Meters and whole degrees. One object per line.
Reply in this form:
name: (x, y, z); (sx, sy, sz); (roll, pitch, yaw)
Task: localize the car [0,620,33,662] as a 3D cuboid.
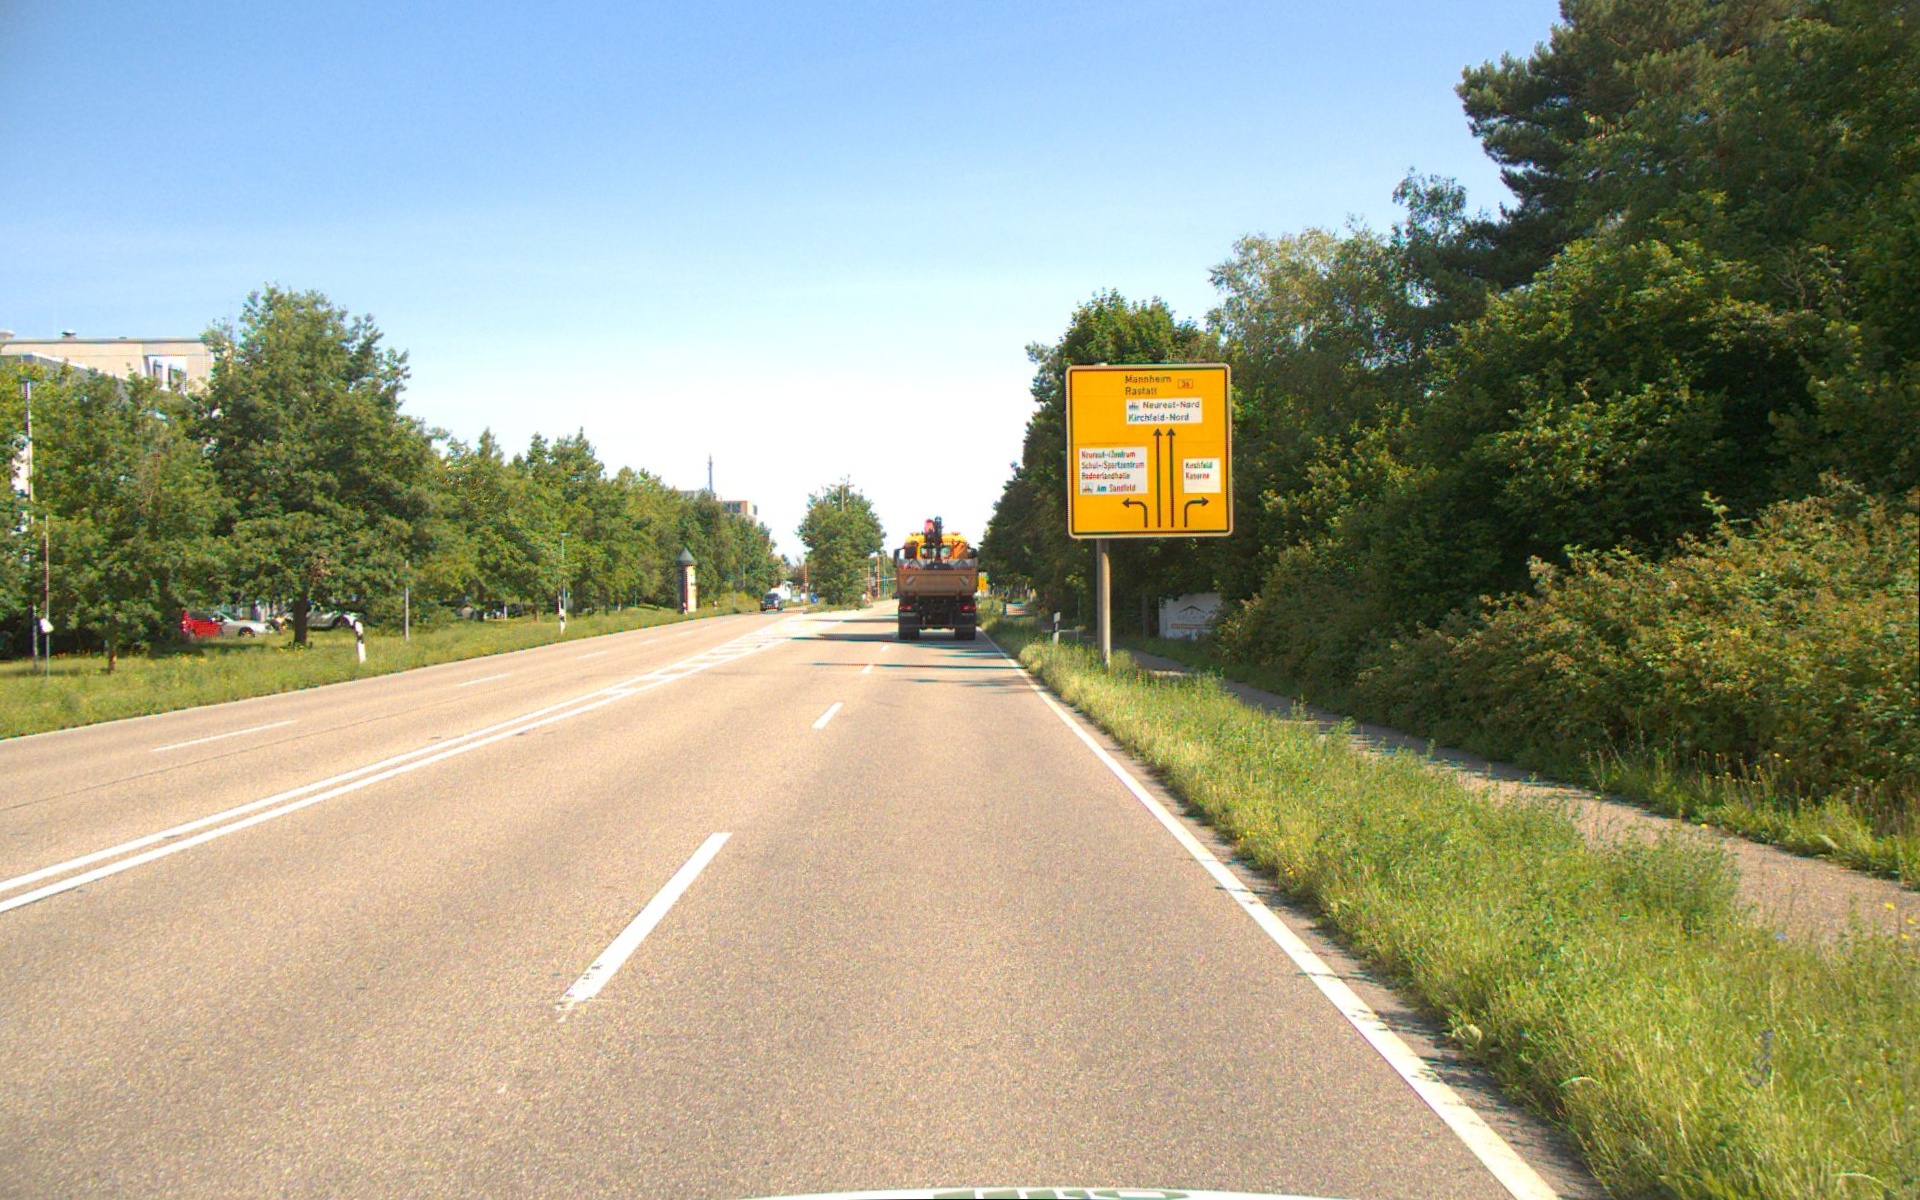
car: (-35.360, 1.509, 59.054); (1.953, 1.462, 4.609); (-1, 0, -1)

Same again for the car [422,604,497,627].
car: (-33.945, 1.065, 112.252); (4.501, 1.462, 2.000); (-1, 0, -1)

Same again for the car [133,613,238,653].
car: (-31.354, 1.304, 67.107); (1.952, 1.462, 4.611); (-1, 0, 1)

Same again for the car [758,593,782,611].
car: (-17.962, 0.209, 156.457); (1.764, 1.599, 3.999); (-2, 0, -1)

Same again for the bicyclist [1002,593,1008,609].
bicyclist: (4.442, 0.101, 162.327); (0.547, 1.585, 0.557); (-1, 0, -1)

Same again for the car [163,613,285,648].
car: (-32.558, 1.338, 73.247); (4.501, 1.462, 2.000); (-1, 0, -1)

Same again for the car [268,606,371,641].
car: (-32.983, 1.200, 85.239); (4.501, 1.679, 2.000); (-1, 0, -1)

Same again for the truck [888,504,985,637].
truck: (-0.868, -0.908, 53.792); (2.814, 3.948, 7.396); (1, 0, -3)
